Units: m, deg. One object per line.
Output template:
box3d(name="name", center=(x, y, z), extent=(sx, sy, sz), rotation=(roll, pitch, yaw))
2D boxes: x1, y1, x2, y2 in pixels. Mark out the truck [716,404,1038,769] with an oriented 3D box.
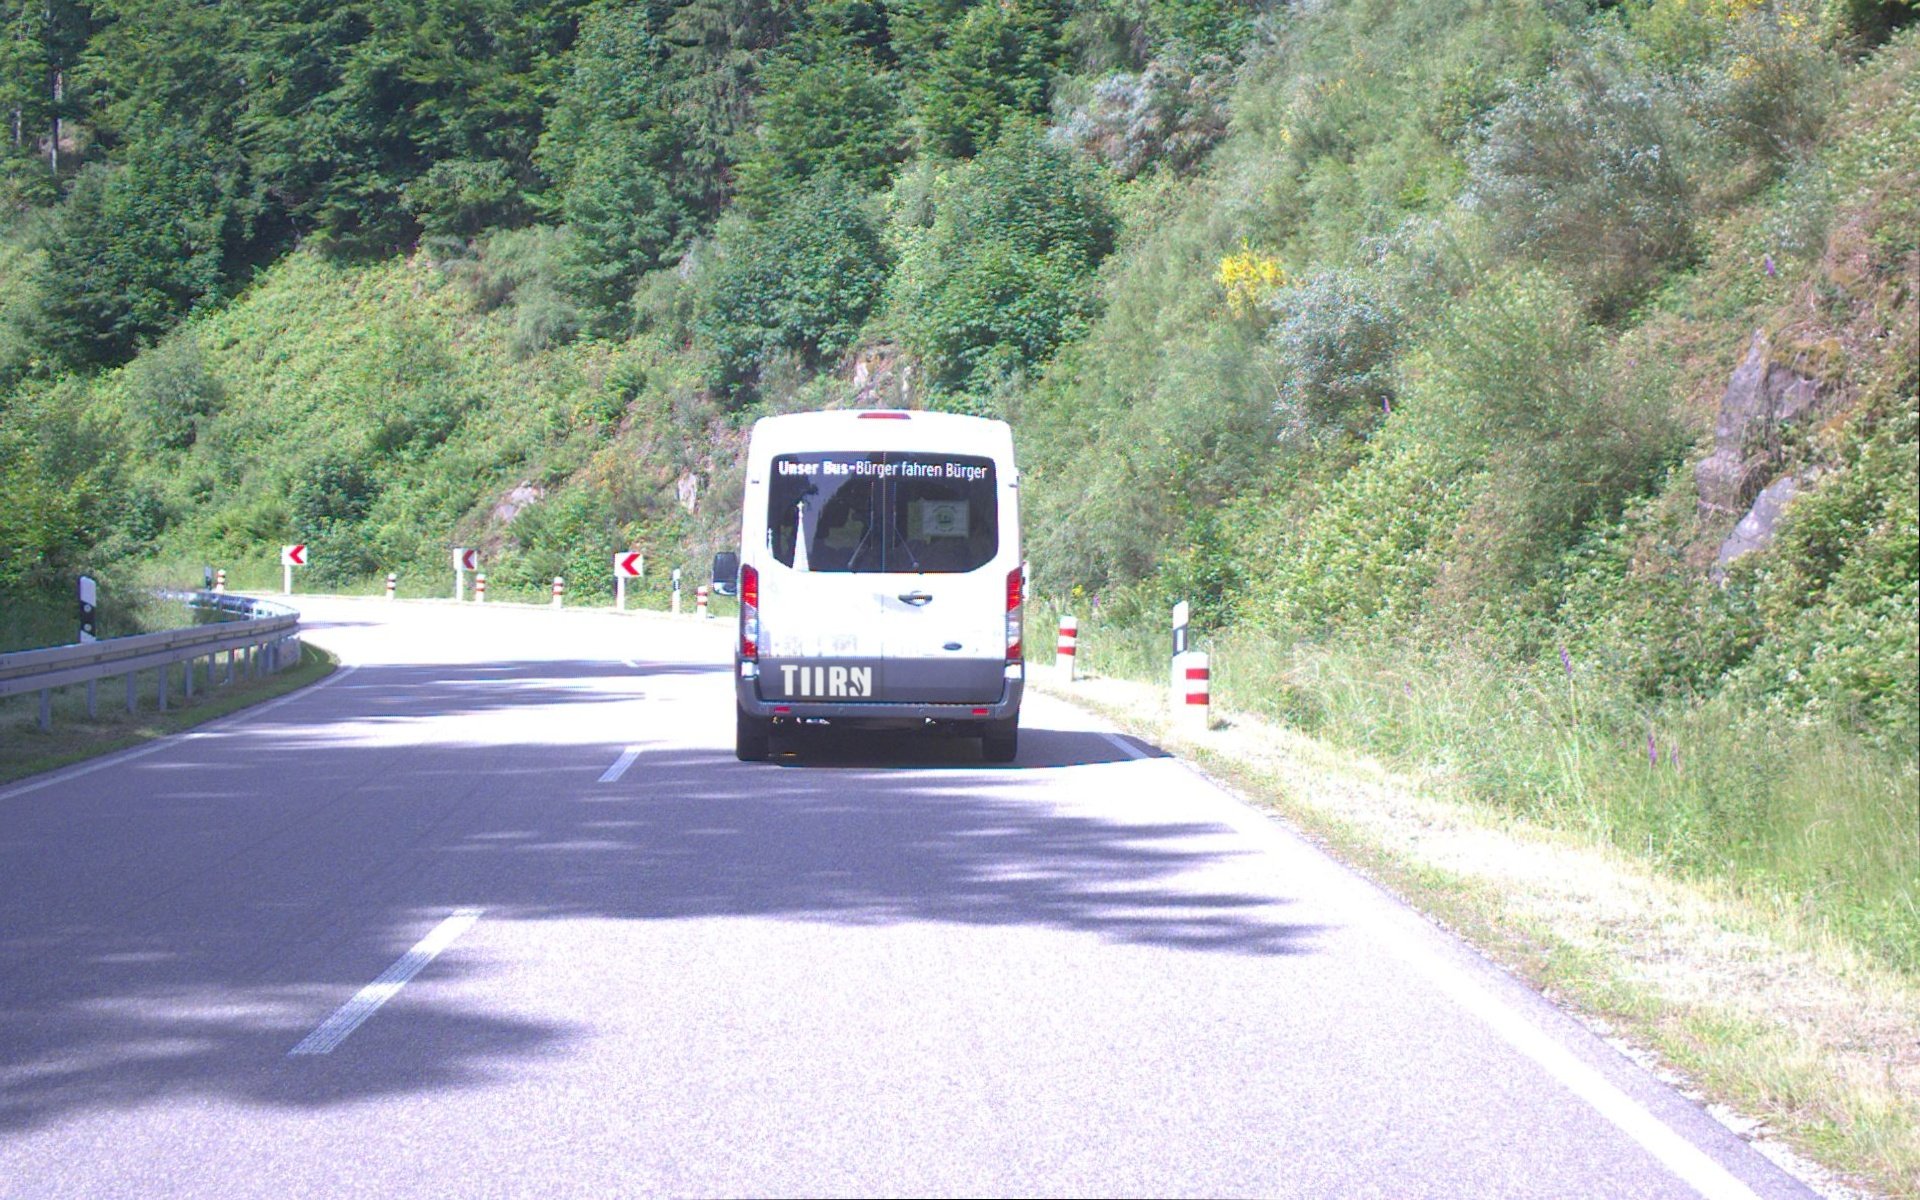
box3d(name="truck", center=(-0.728, -0.118, 25.625), extent=(2.083, 2.451, 4.876), rotation=(0, 1, -5))
